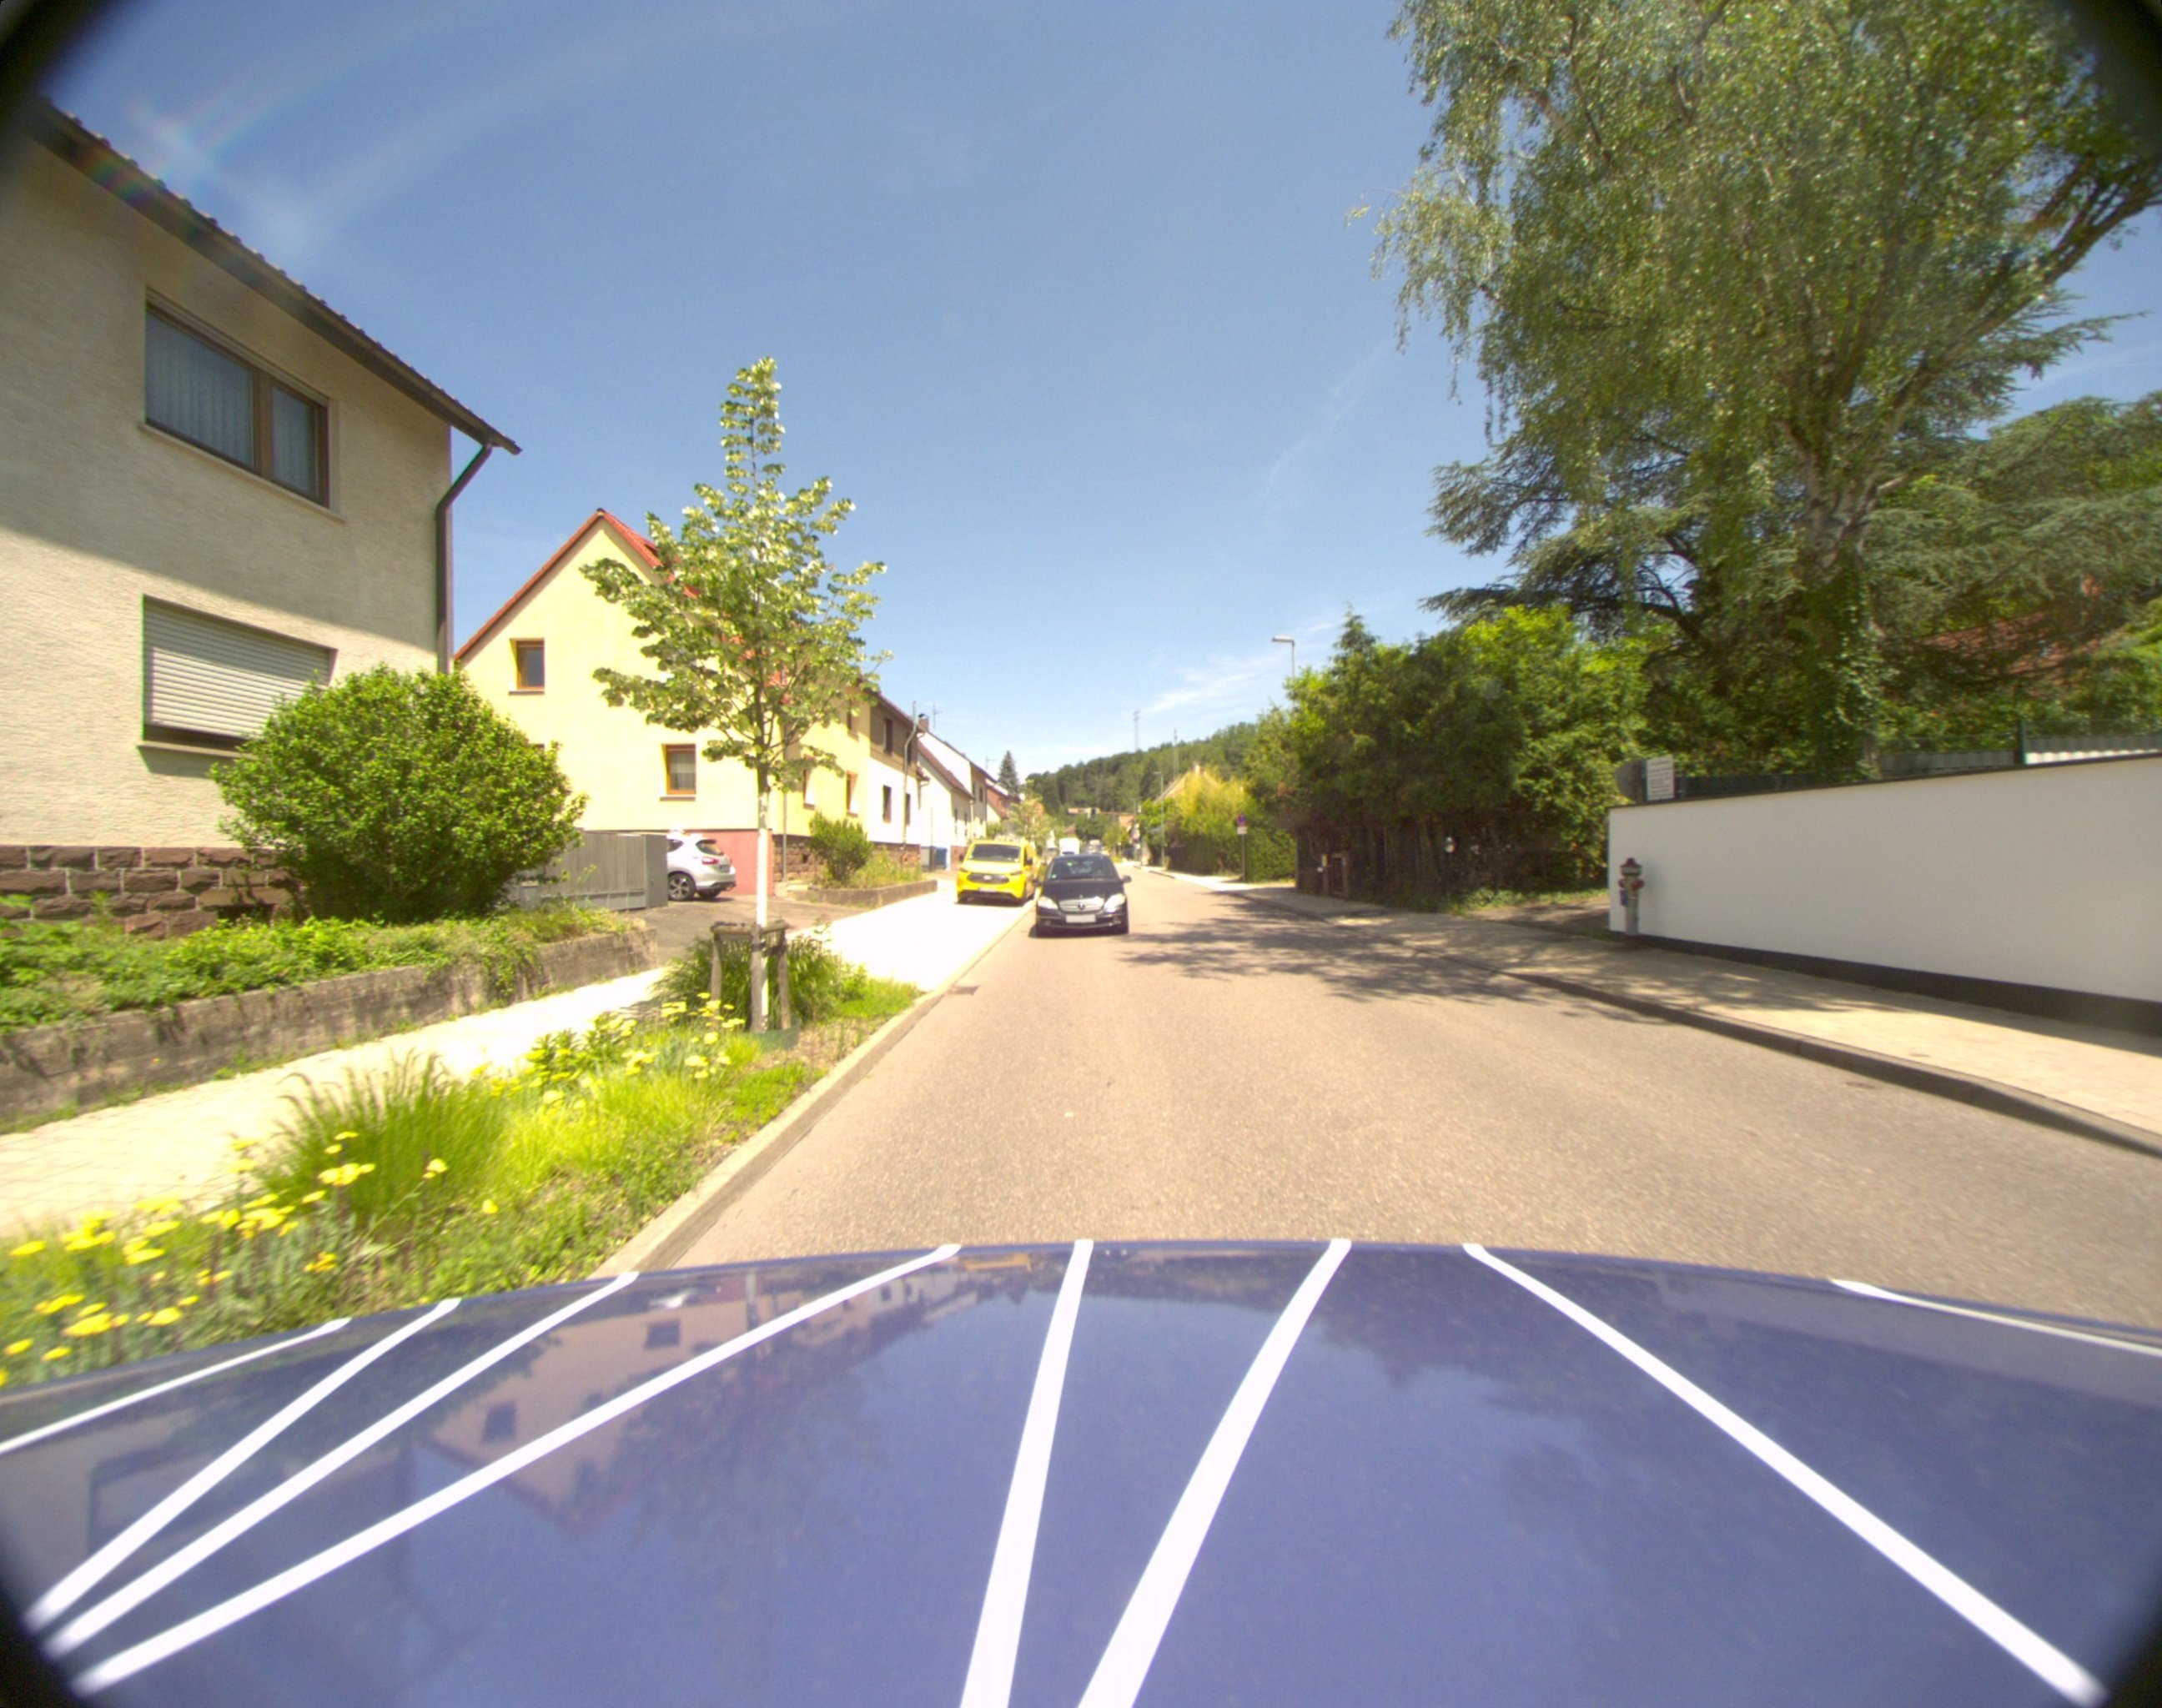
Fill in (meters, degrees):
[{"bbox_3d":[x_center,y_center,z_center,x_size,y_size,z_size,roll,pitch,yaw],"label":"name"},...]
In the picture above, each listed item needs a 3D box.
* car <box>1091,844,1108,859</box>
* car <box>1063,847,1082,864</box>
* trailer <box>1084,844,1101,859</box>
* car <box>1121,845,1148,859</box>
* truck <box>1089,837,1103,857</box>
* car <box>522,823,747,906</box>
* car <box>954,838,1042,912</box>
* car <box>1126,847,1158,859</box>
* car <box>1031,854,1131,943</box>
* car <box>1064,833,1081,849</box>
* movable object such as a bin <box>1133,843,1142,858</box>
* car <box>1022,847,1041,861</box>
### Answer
[{"bbox_3d":[2.155,-0.279,89.747,1.872,1.643,3.948,-3,0,0],"label":"car"},{"bbox_3d":[-0.986,0.170,85.780,1.999,1.716,3.999,-3,1,-1],"label":"car"},{"bbox_3d":[1.590,-0.413,108.062,2.161,1.975,6.199,-3,1,-2],"label":"trailer"},{"bbox_3d":[7.492,-0.343,106.095,3.606,1.780,1.848,-3,1,-1],"label":"car"},{"bbox_3d":[2.970,-1.305,144.914,2.548,3.716,8.621,0,1,2],"label":"truck"},{"bbox_3d":[-10.103,0.230,17.450,3.998,1.667,1.873,2,1,-2],"label":"car"},{"bbox_3d":[-2.513,0.538,24.409,2.195,2.002,5.621,3,1,-1],"label":"car"},{"bbox_3d":[8.153,-0.139,101.886,4.040,1.491,1.707,-1,2,39],"label":"car"},{"bbox_3d":[0.059,0.815,16.373,1.767,1.572,4.931,-2,0,1],"label":"car"},{"bbox_3d":[-1.226,-1.839,107.822,1.986,2.170,4.000,-2,1,4],"label":"car"},{"bbox_3d":[7.447,-0.462,100.195,1.062,2.002,1.322,-3,2,0],"label":"movable object such as a bin"},{"bbox_3d":[-6.173,0.017,95.629,1.867,1.612,4.507,2,1,1],"label":"car"}]
